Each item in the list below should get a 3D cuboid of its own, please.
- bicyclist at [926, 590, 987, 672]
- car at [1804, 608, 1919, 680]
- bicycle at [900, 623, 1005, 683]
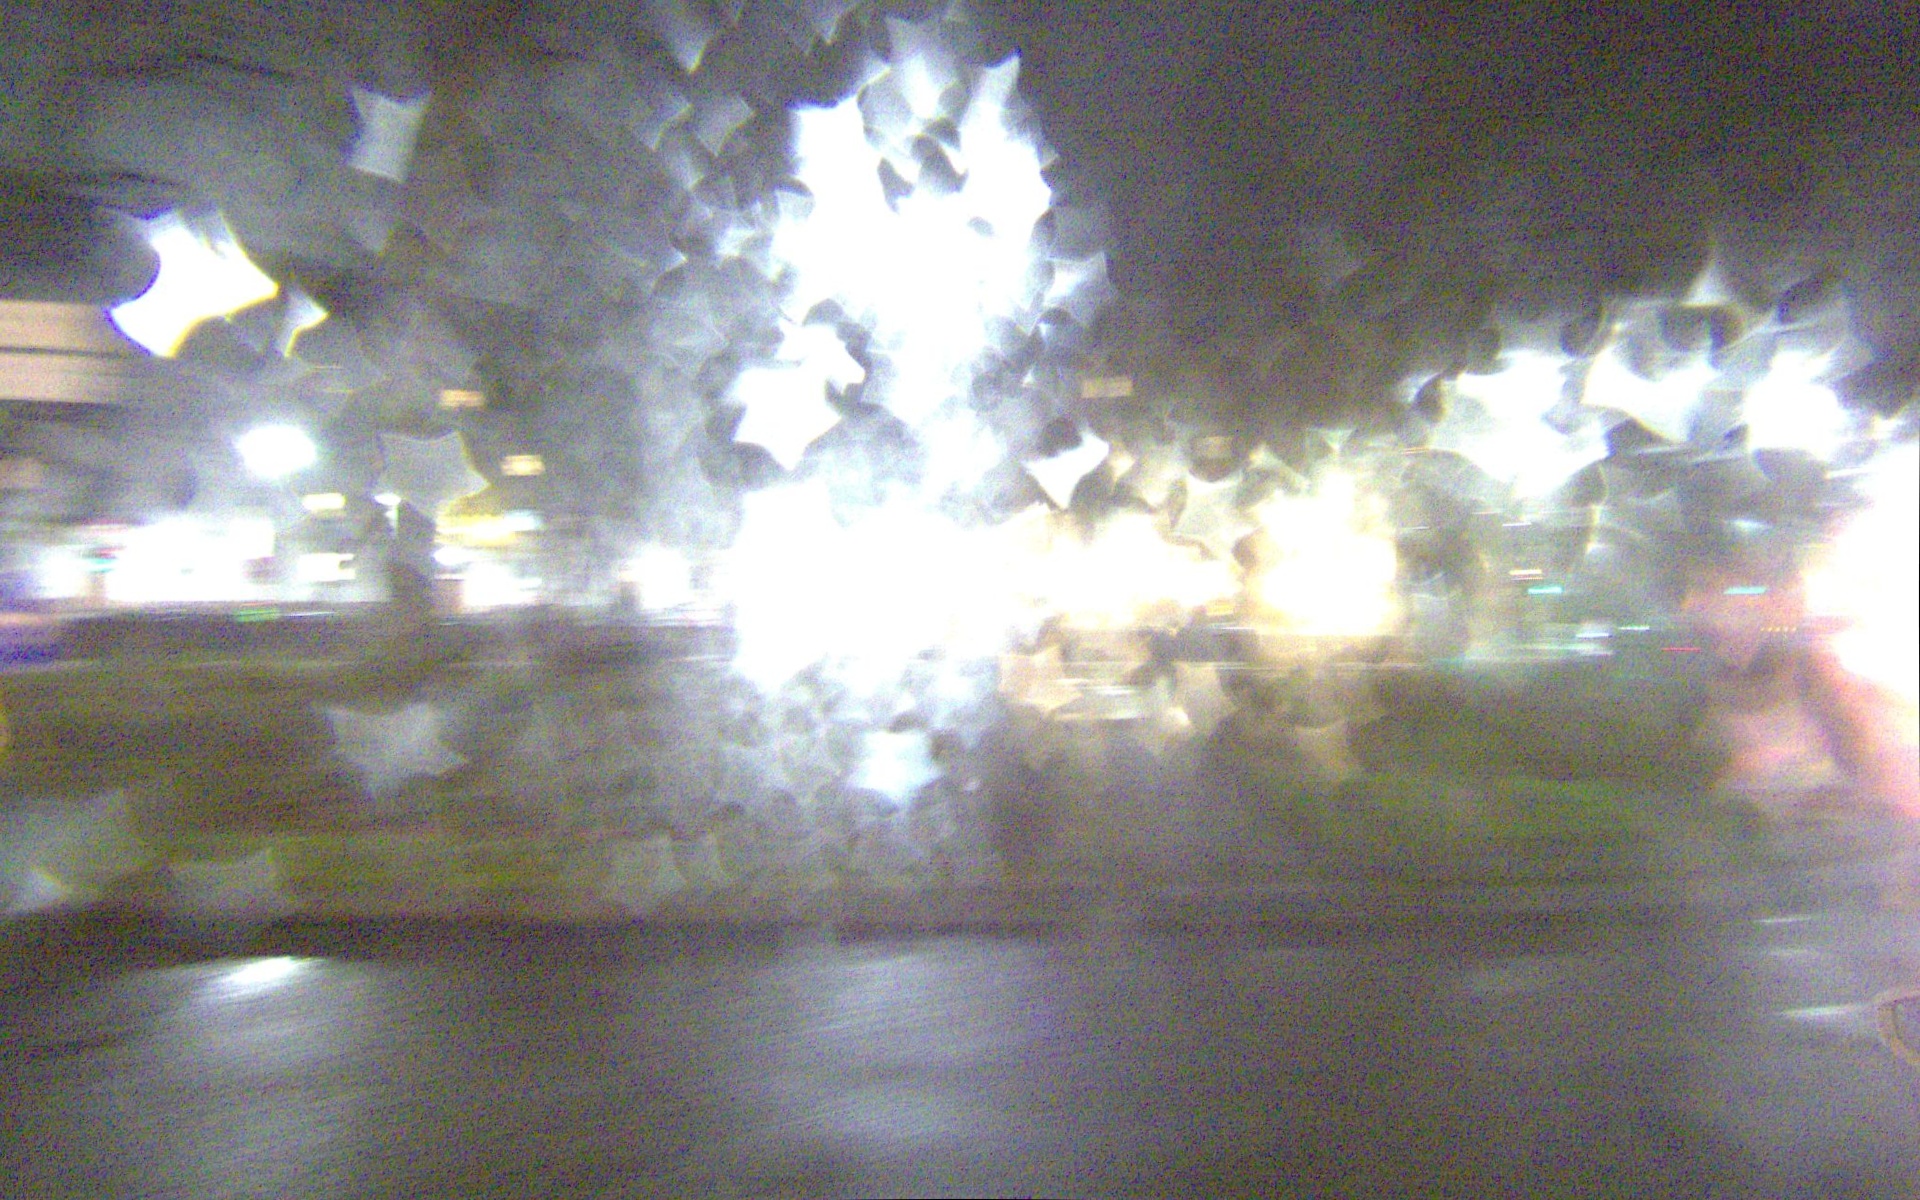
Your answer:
[{"bbox_3d":[-0.066,0.548,17.905,0.882,1.398,0.502,4,0,-22],"label":"bicyclist"},{"bbox_3d":[24.736,1.204,27.288,1.964,1.750,3.994,3,-1,29],"label":"car"},{"bbox_3d":[-0.126,0.948,17.876,1.759,0.944,0.497,4,0,-23],"label":"bicycle"}]
